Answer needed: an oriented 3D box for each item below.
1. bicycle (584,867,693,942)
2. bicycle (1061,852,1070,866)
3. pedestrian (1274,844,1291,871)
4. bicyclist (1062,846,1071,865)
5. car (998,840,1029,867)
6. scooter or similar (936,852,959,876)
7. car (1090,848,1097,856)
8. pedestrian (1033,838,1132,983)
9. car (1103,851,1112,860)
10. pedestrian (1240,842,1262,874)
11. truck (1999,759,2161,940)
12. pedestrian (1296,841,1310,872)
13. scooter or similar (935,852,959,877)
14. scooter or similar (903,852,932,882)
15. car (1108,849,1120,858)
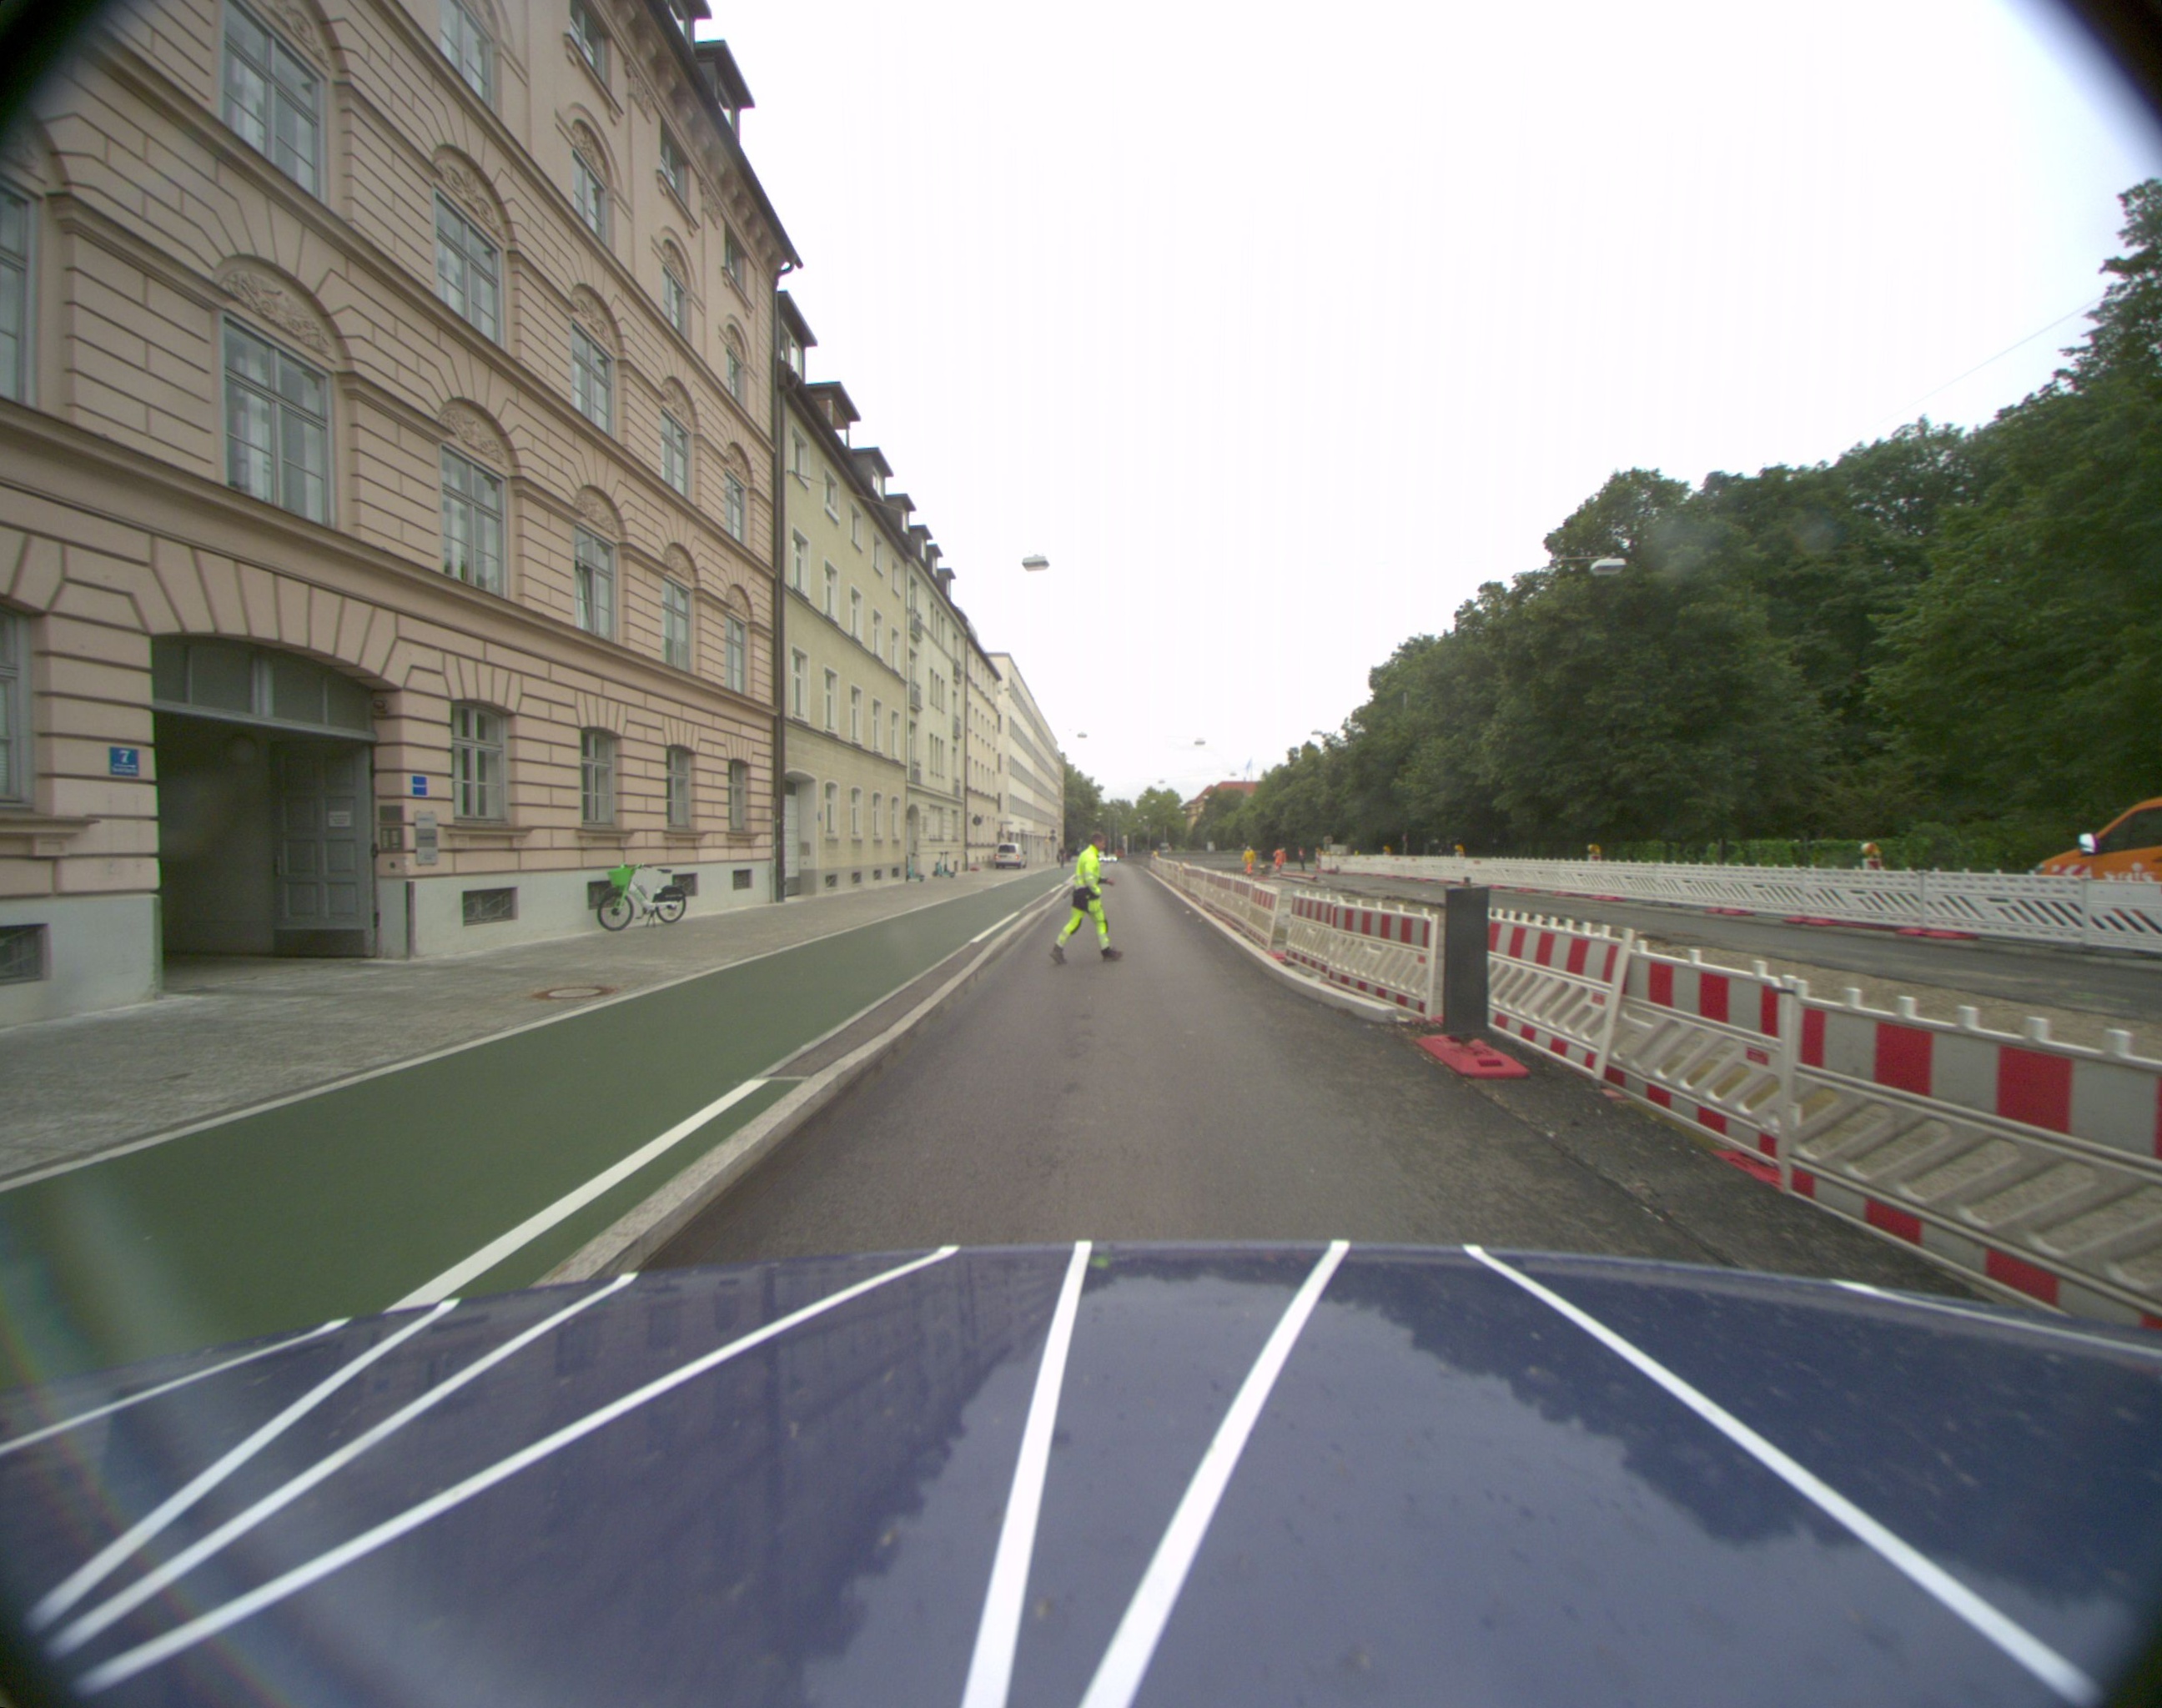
[{"bbox_3d":[-7.735,0.844,13.372,0.556,1.170,1.727,1,1,17],"label":"bicycle"},{"bbox_3d":[-1.202,0.411,59.012,0.632,1.031,2.017,0,1,-4],"label":"bicycle"},{"bbox_3d":[12.888,0.217,48.715,0.899,1.679,0.911,0,1,6],"label":"pedestrian"},{"bbox_3d":[-1.132,0.108,59.026,0.632,1.459,0.652,0,1,-4],"label":"bicyclist"},{"bbox_3d":[-4.797,-0.070,54.411,1.765,1.821,4.000,0,1,2],"label":"car"},{"bbox_3d":[-6.699,0.505,38.104,1.079,1.185,0.436,-1,2,-37],"label":"scooter or similar"},{"bbox_3d":[3.371,-0.594,206.268,1.998,2.002,3.999,-2,1,1],"label":"car"},{"bbox_3d":[0.022,0.693,10.065,0.994,1.793,0.812,-1,3,-39],"label":"pedestrian"},{"bbox_3d":[5.960,0.319,169.635,1.998,2.002,4.000,-2,1,3],"label":"car"},{"bbox_3d":[9.793,0.196,43.736,0.877,1.826,0.858,-1,2,-37],"label":"pedestrian"},{"bbox_3d":[17.883,-0.057,10.955,2.127,2.833,6.213,0,1,6],"label":"truck"},{"bbox_3d":[13.960,0.166,47.862,0.666,1.959,0.807,1,1,28],"label":"pedestrian"},{"bbox_3d":[-6.489,0.510,36.758,1.078,1.185,0.453,0,1,-27],"label":"scooter or similar"},{"bbox_3d":[-6.878,0.537,31.972,0.552,1.238,1.079,1,1,37],"label":"scooter or similar"},{"bbox_3d":[5.864,-0.152,134.599,1.759,1.461,3.998,-1,1,-2],"label":"car"}]
